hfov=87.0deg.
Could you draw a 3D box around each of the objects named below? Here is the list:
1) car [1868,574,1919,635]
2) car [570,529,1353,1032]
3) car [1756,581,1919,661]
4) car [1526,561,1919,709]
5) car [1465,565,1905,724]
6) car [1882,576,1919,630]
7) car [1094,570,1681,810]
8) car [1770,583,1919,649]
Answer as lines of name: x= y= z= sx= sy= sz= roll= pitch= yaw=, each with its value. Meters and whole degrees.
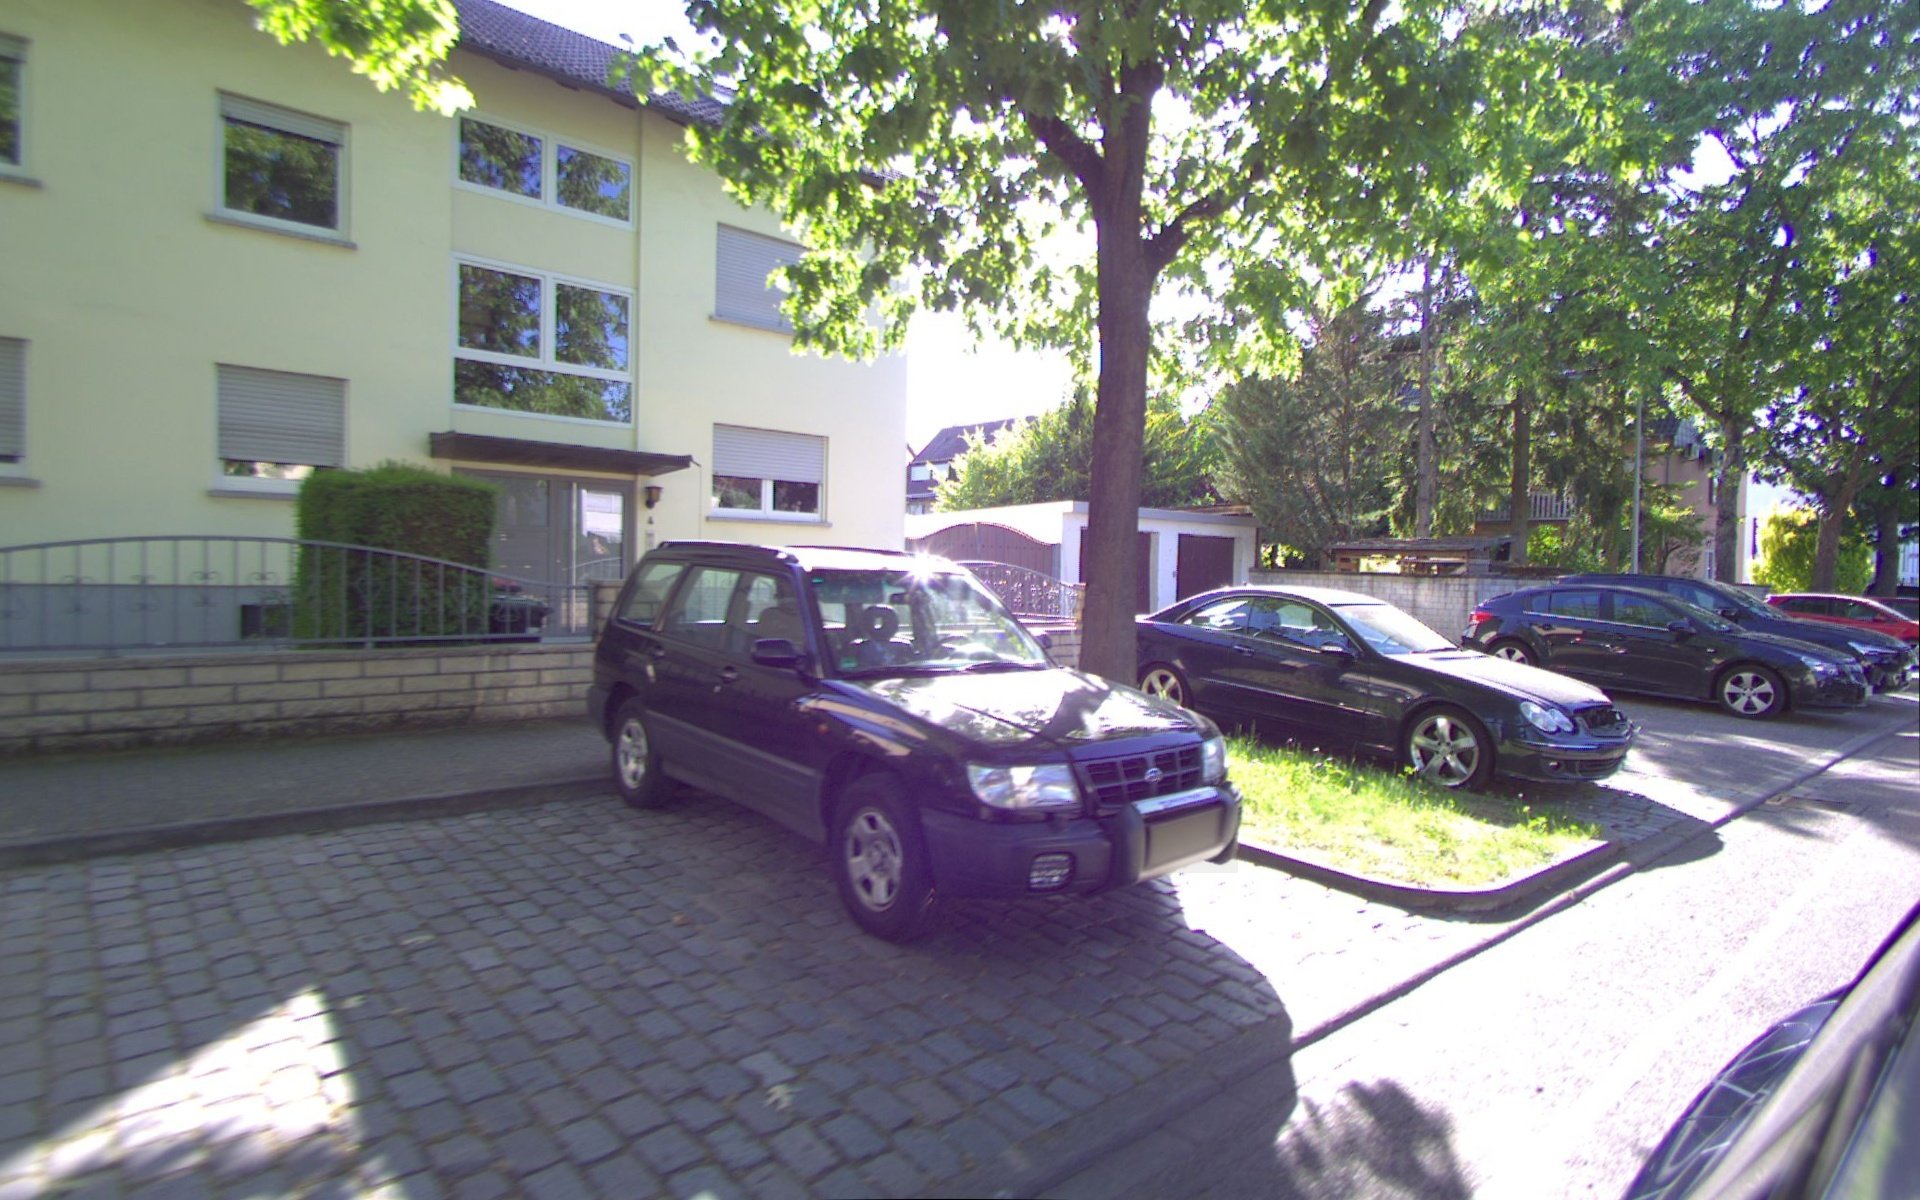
car: x=30.699 y=0.238 z=30.803 sx=1.757 sy=1.803 sz=4.225 roll=0 pitch=4 yaw=-38
car: x=-0.409 y=0.463 z=5.491 sx=1.835 sy=1.579 sz=4.348 roll=0 pitch=4 yaw=-41
car: x=20.205 y=0.441 z=22.355 sx=1.724 sy=1.502 sz=3.789 roll=-1 pitch=4 yaw=-38
car: x=11.244 y=0.365 z=15.005 sx=1.805 sy=1.666 sz=4.586 roll=0 pitch=4 yaw=-40
car: x=9.275 y=0.431 z=13.276 sx=1.808 sy=1.548 sz=4.331 roll=0 pitch=4 yaw=-40
car: x=33.061 y=0.237 z=32.689 sx=1.845 sy=1.699 sz=4.516 roll=0 pitch=5 yaw=-39
car: x=3.361 y=0.533 z=8.836 sx=1.659 sy=1.347 sz=4.442 roll=0 pitch=4 yaw=-37
car: x=23.643 y=0.412 z=25.664 sx=1.804 sy=1.463 sz=4.516 roll=0 pitch=4 yaw=-38
